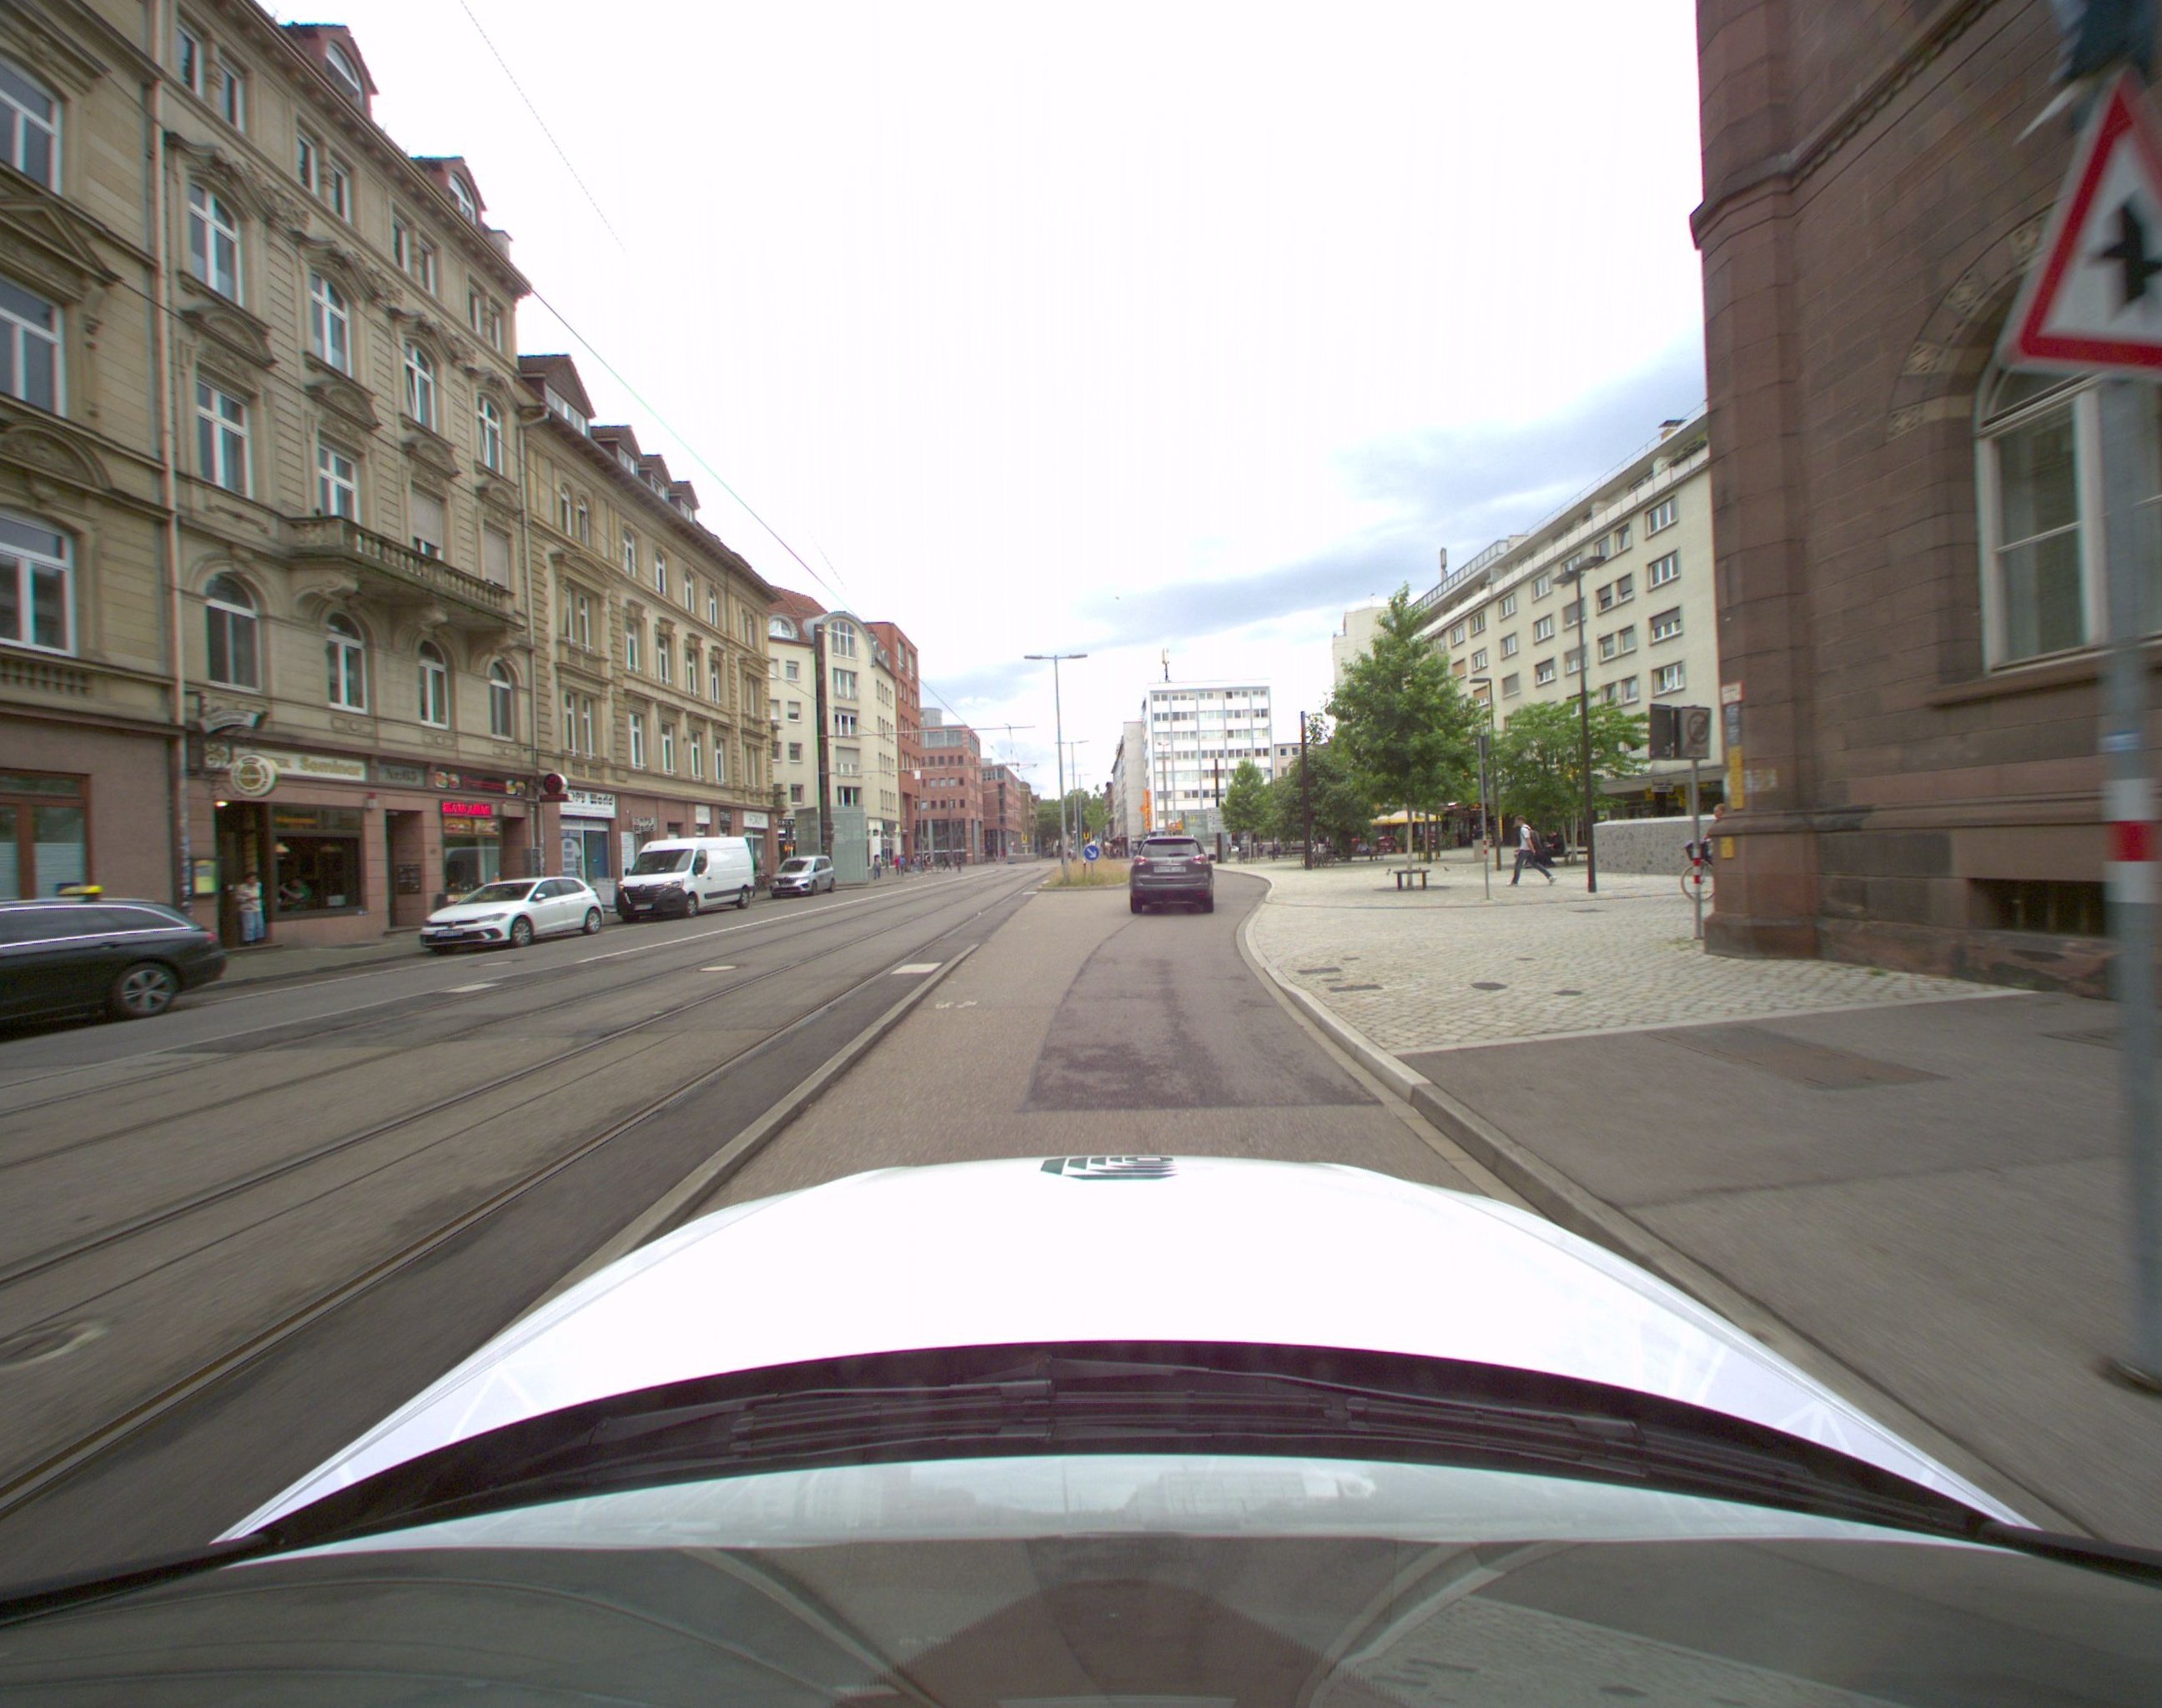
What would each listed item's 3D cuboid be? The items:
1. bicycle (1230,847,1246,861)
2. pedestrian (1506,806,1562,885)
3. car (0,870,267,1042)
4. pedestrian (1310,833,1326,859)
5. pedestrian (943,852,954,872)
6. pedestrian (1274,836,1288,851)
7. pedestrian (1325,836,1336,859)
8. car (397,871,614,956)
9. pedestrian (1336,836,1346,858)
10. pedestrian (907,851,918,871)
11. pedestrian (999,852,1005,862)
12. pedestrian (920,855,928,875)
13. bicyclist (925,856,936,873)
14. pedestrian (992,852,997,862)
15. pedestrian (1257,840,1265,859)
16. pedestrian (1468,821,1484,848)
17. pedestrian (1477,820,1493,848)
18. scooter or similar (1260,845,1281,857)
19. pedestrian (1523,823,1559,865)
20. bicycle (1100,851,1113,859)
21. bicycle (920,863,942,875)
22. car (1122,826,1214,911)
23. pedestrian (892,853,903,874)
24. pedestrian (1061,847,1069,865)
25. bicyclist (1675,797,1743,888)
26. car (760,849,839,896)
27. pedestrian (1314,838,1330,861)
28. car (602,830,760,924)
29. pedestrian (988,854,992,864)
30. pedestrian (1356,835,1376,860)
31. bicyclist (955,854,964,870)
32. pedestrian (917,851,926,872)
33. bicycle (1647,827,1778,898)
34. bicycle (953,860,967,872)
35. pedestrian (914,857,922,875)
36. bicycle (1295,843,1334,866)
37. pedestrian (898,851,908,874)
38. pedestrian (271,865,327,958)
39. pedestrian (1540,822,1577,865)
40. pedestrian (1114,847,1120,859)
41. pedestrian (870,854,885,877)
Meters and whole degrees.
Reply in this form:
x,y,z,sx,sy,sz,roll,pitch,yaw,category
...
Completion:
x,y,z,sx,sy,sz,roll,pitch,yaw,category
11.767,0.024,61.096,0.651,0.978,1.765,-3,0,29,bicycle
11.384,-0.214,20.497,0.867,1.901,0.772,-4,0,-1,pedestrian
-11.948,1.143,8.415,1.914,1.689,5.050,-5,0,-1,car
17.728,-0.591,60.978,0.711,1.802,1.077,-5,-1,-1,pedestrian
-12.668,0.753,77.931,0.894,1.890,0.798,-1,-1,-2,pedestrian
17.639,-0.914,71.750,1.039,1.297,0.734,-4,0,5,pedestrian
15.533,-0.411,50.741,0.623,1.366,0.923,-2,0,17,pedestrian
-12.428,1.198,17.972,1.766,1.422,4.163,-5,0,-1,car
16.295,-0.417,51.099,0.538,1.366,1.286,-2,0,18,pedestrian
-15.066,0.648,72.928,0.870,1.687,0.659,-2,-2,-15,pedestrian
-14.431,0.500,148.750,0.695,1.842,0.737,-2,0,13,pedestrian
-15.143,1.037,78.531,0.609,1.890,0.798,-2,-1,-2,pedestrian
-13.748,0.969,74.577,0.804,1.540,0.494,-3,0,10,bicyclist
-15.628,0.601,147.592,0.735,1.842,0.697,-1,0,-25,pedestrian
17.818,-0.445,80.562,0.666,1.761,0.644,-2,0,15,pedestrian
26.867,-1.299,55.402,0.766,1.751,0.722,-5,0,38,pedestrian
27.918,-1.354,56.227,0.766,1.885,0.858,-2,0,38,pedestrian
16.779,-0.289,72.142,1.571,0.948,0.730,-4,0,38,scooter or similar
16.987,-0.376,30.052,0.782,1.455,0.761,-5,0,-30,pedestrian
3.778,0.145,120.704,1.870,1.172,0.528,-1,0,-14,bicycle
-13.736,1.399,74.602,1.894,1.021,0.479,-3,0,9,bicycle
2.168,0.301,19.235,1.852,1.775,4.579,-1,0,10,car
-14.738,0.762,65.360,0.720,1.687,0.659,-3,-2,-10,pedestrian
-1.584,0.216,79.697,0.742,1.684,0.798,-1,-1,-4,pedestrian
11.997,-0.211,15.574,0.786,1.684,0.572,-2,0,9,bicyclist
-12.426,0.776,36.313,1.897,1.864,4.518,-4,0,-1,car
14.864,-0.263,50.283,0.630,1.366,0.683,-1,0,-19,pedestrian
-12.416,0.641,25.839,2.047,2.486,5.663,-5,0,-1,car
-14.281,0.851,127.384,0.450,1.532,0.519,-1,0,-18,pedestrian
16.518,-0.376,47.210,0.626,1.366,1.409,-1,0,-1,pedestrian
-10.735,0.699,71.932,0.482,1.407,0.803,-3,0,-33,bicyclist
-13.245,0.602,67.717,0.660,1.687,0.719,-3,-2,-12,pedestrian
12.032,0.162,15.567,1.923,1.260,0.526,-3,0,9,bicycle
-10.666,1.085,71.848,0.482,1.021,1.892,-3,0,-33,bicycle
-15.133,1.117,75.555,0.568,1.684,0.798,-1,-1,-4,pedestrian
12.214,0.019,42.669,1.902,1.123,0.647,-2,0,11,bicycle
-13.921,0.669,63.789,0.660,1.687,0.720,-3,-2,-9,pedestrian
-17.540,1.263,18.288,0.712,2.013,0.740,-1,0,-31,pedestrian
17.102,-0.374,29.198,0.782,1.455,0.761,-5,0,-30,pedestrian
5.308,-0.163,120.063,0.731,1.745,0.661,-1,0,-8,pedestrian
-15.245,0.858,60.964,0.714,1.687,0.829,-3,-2,19,pedestrian
